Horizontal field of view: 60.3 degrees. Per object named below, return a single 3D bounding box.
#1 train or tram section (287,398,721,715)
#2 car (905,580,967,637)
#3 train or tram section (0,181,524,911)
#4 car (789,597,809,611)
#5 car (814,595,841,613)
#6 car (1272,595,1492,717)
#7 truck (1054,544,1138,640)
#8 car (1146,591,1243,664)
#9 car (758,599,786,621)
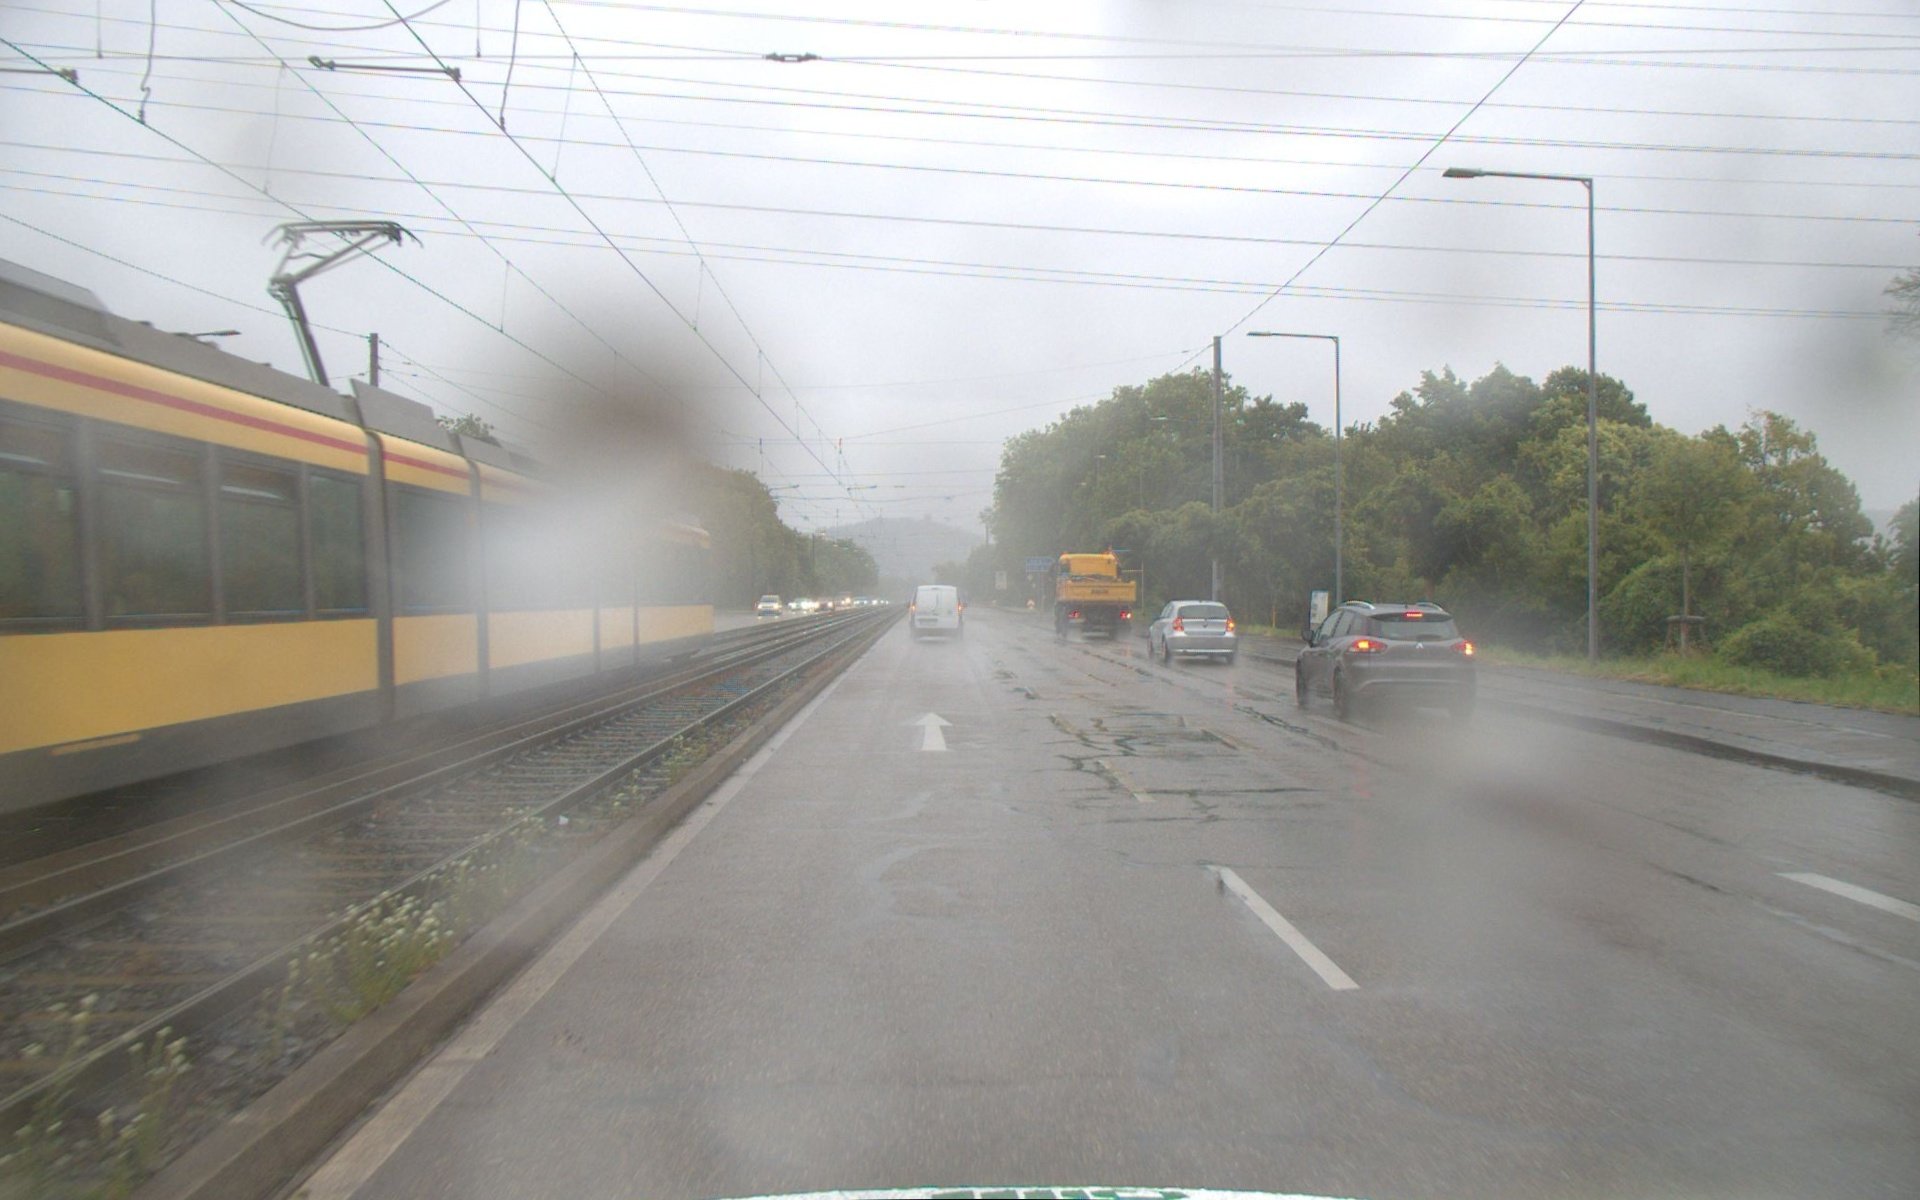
[{"bbox_3d":[-6.889,-0.708,29.620,2.827,3.770,19.525,1,1,-1],"label":"train or tram section"},{"bbox_3d":[-0.747,0.243,53.763,1.948,1.713,3.740,1,1,0],"label":"car"},{"bbox_3d":[-6.420,-0.333,10.834,2.806,3.770,17.886,1,1,-1],"label":"train or tram section"},{"bbox_3d":[-16.934,0.397,173.775,1.722,1.386,5.070,1,1,-1],"label":"car"},{"bbox_3d":[-12.808,0.360,159.939,1.952,1.489,5.252,-3,1,2],"label":"car"},{"bbox_3d":[5.515,0.673,22.171,1.849,1.380,4.277,1,1,0],"label":"car"},{"bbox_3d":[4.933,-0.356,60.919,2.503,3.314,6.933,1,1,0],"label":"truck"},{"bbox_3d":[5.467,0.604,39.053,1.593,1.529,4.606,1,1,0],"label":"car"},{"bbox_3d":[-15.222,0.785,133.961,1.805,1.601,5.065,1,1,-1],"label":"car"}]
